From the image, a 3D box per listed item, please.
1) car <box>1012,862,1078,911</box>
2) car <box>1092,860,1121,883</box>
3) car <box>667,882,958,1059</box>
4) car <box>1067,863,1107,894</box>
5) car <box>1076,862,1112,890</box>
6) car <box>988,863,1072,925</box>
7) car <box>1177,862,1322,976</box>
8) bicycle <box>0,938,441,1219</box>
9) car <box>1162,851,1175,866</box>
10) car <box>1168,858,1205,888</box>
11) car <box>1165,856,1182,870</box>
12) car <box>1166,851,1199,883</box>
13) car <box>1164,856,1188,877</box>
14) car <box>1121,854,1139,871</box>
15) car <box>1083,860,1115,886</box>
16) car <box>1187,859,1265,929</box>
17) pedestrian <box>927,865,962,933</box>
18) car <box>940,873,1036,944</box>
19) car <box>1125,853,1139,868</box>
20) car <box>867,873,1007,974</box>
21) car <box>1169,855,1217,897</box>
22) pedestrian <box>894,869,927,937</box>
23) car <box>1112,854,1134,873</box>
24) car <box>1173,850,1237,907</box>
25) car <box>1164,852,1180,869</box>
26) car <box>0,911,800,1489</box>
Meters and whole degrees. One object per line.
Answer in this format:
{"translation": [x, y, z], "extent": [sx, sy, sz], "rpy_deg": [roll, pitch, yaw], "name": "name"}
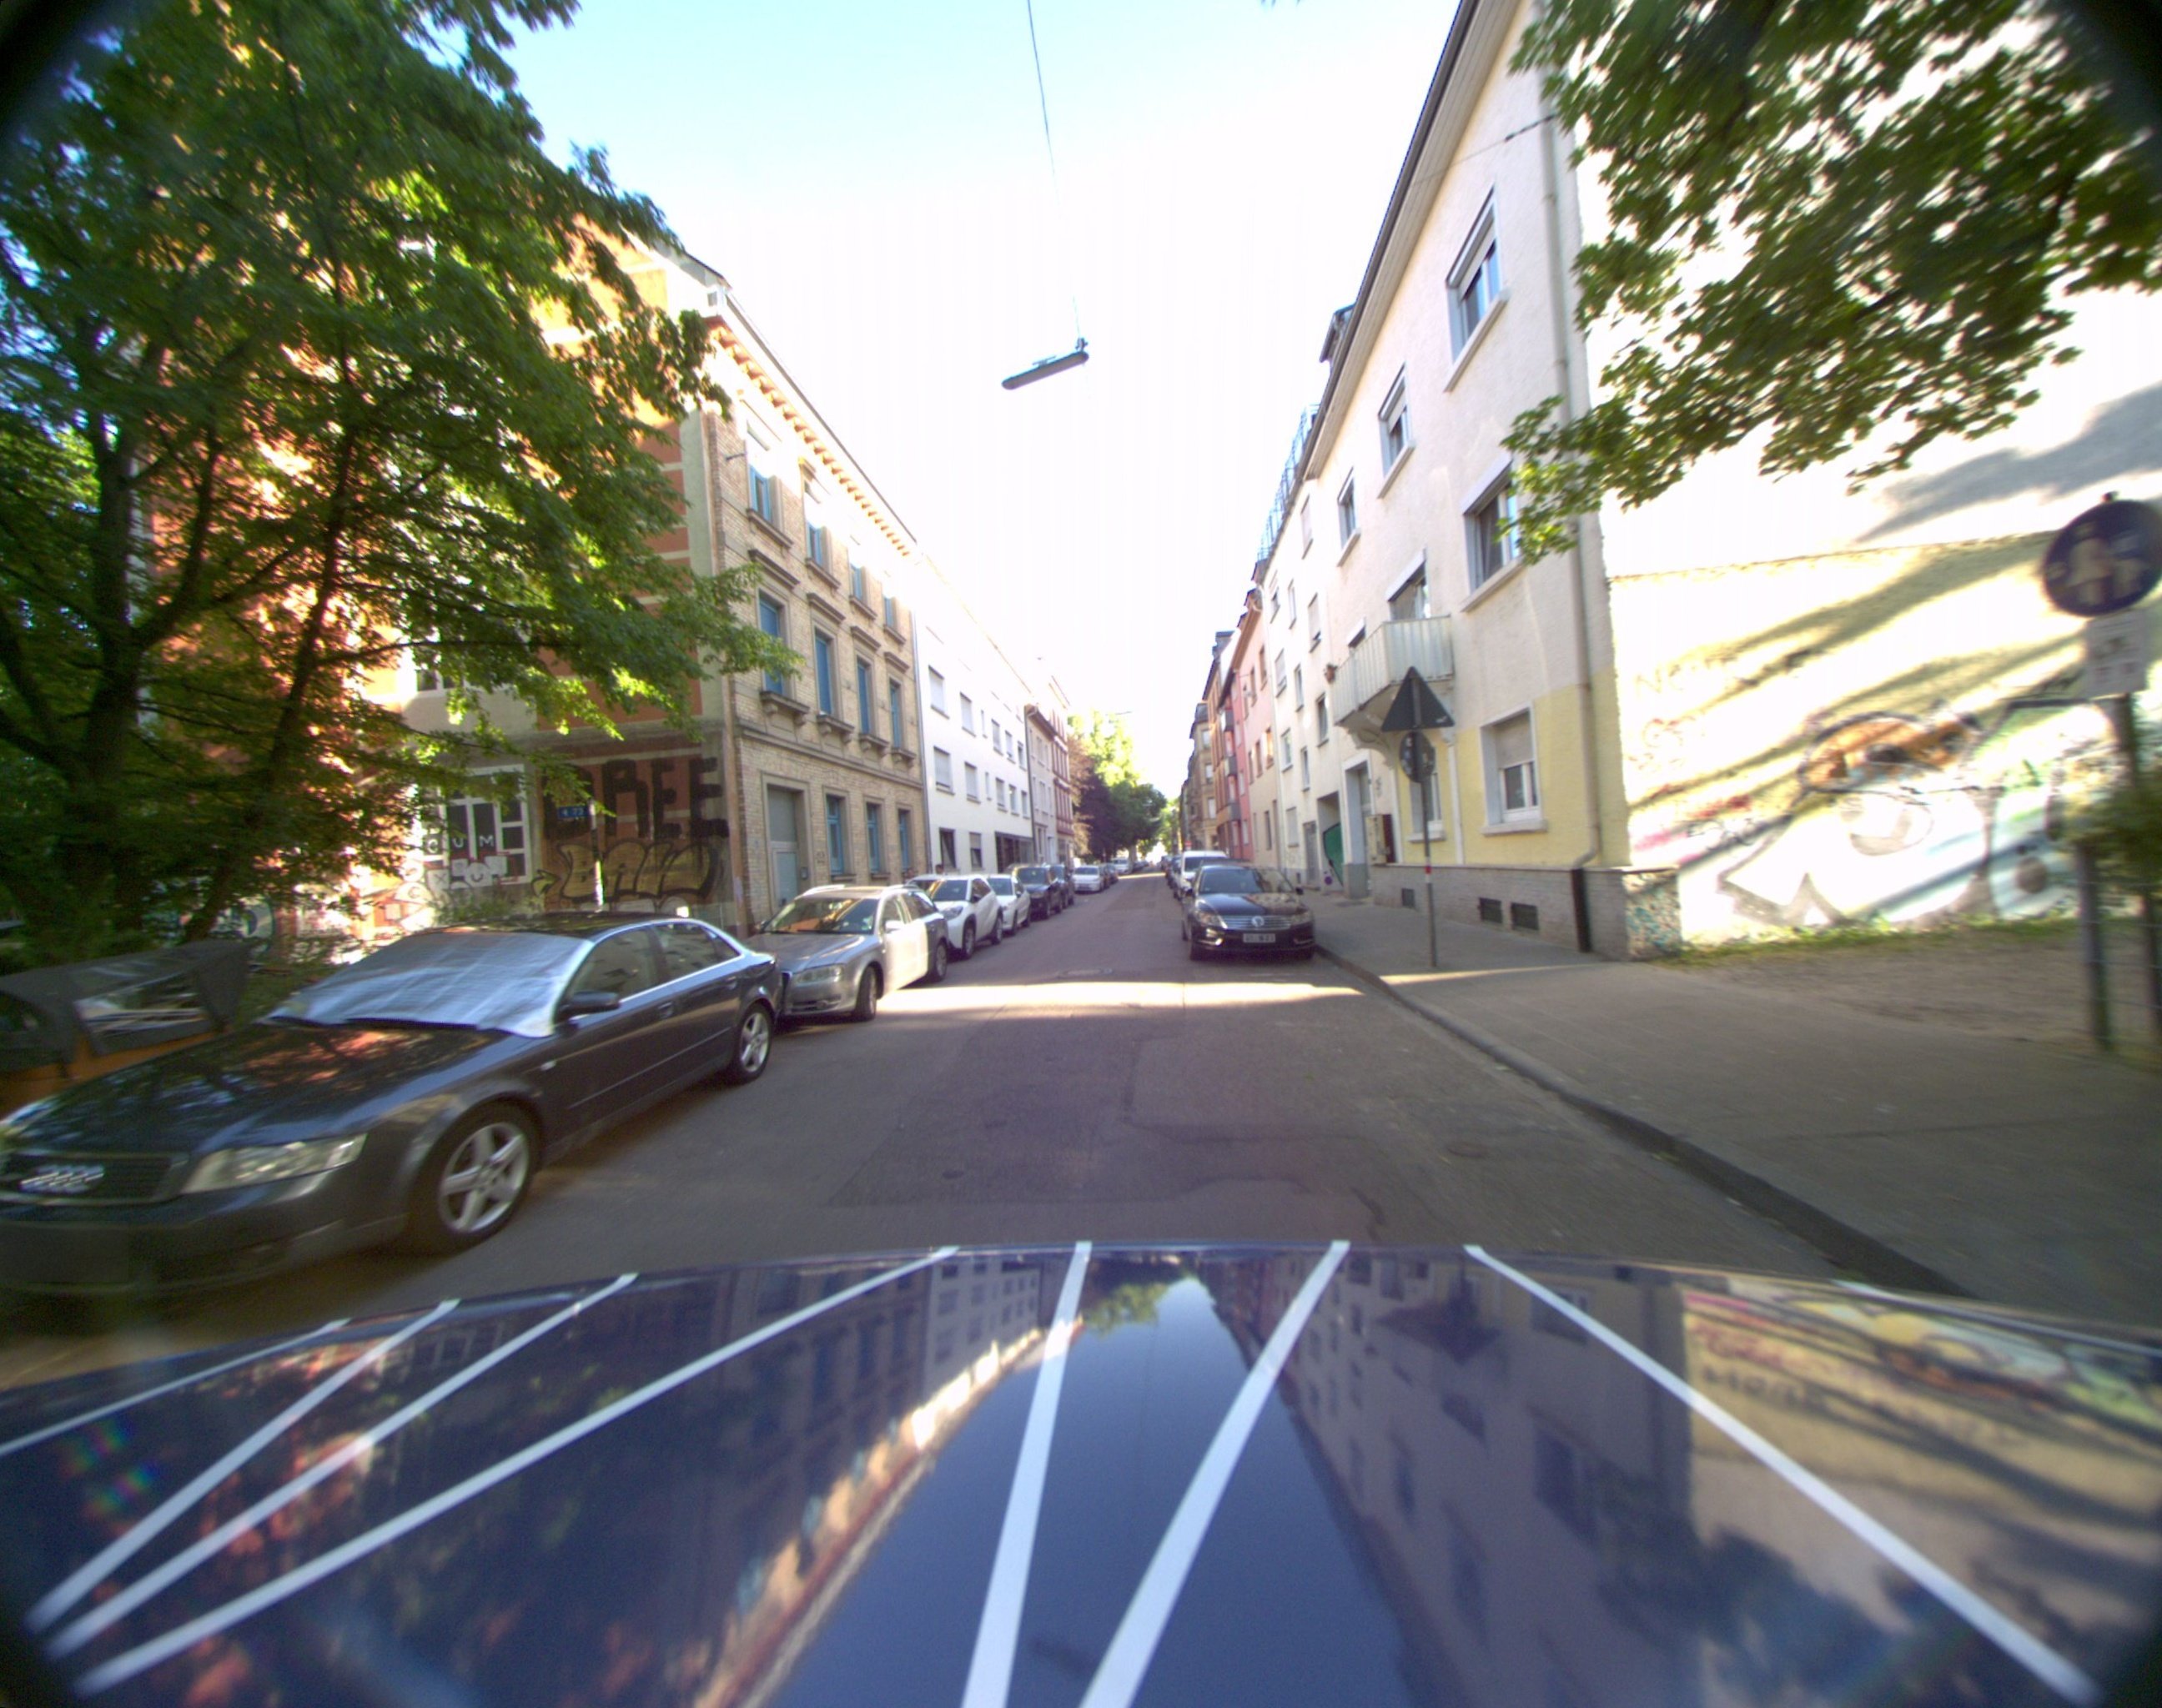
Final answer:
{"translation": [-1.283, 1.174, 29.069], "extent": [1.885, 1.657, 4.330], "rpy_deg": [-1, 0, 6], "name": "car"}
{"translation": [1.894, 1.243, 55.674], "extent": [1.768, 1.524, 4.105], "rpy_deg": [-1, 0, 6], "name": "car"}
{"translation": [-2.998, 1.235, 9.617], "extent": [1.662, 1.485, 4.355], "rpy_deg": [-4, 0, 6], "name": "car"}
{"translation": [0.363, 1.282, 41.368], "extent": [1.768, 1.508, 4.105], "rpy_deg": [-1, 0, 6], "name": "car"}
{"translation": [0.833, 1.276, 46.112], "extent": [1.768, 1.524, 4.105], "rpy_deg": [-2, 0, 6], "name": "car"}
{"translation": [-1.501, 1.187, 23.898], "extent": [1.769, 1.657, 4.330], "rpy_deg": [-3, 0, 7], "name": "car"}
{"translation": [2.530, 0.902, 12.390], "extent": [1.783, 1.435, 4.394], "rpy_deg": [-1, 0, 6], "name": "car"}
{"translation": [-6.319, 1.390, 5.443], "extent": [1.293, 1.294, 2.328], "rpy_deg": [-2, 0, 9], "name": "bicycle"}
{"translation": [12.541, 0.640, 109.580], "extent": [1.768, 2.074, 4.265], "rpy_deg": [-1, 0, 6], "name": "car"}
{"translation": [5.454, 0.957, 39.653], "extent": [1.768, 1.463, 3.817], "rpy_deg": [-1, 0, 6], "name": "car"}
{"translation": [10.168, 0.955, 83.521], "extent": [1.768, 1.463, 3.934], "rpy_deg": [-1, 0, 6], "name": "car"}
{"translation": [5.954, 0.735, 44.981], "extent": [1.768, 1.814, 4.105], "rpy_deg": [-1, 0, 6], "name": "car"}
{"translation": [7.500, 0.945, 60.127], "extent": [1.768, 1.524, 4.105], "rpy_deg": [-1, 0, 6], "name": "car"}
{"translation": [5.770, 1.020, 89.384], "extent": [1.768, 1.846, 4.287], "rpy_deg": [-4, 0, 6], "name": "car"}
{"translation": [1.226, 1.248, 50.563], "extent": [1.768, 1.524, 4.105], "rpy_deg": [-2, 0, 6], "name": "car"}
{"translation": [3.315, 0.864, 17.836], "extent": [1.596, 1.442, 3.487], "rpy_deg": [-1, 0, 8], "name": "car"}
{"translation": [-3.530, 1.156, 19.704], "extent": [0.711, 1.699, 0.752], "rpy_deg": [-1, 0, 6], "name": "pedestrian"}
{"translation": [-2.217, 1.285, 19.103], "extent": [1.597, 1.442, 4.004], "rpy_deg": [-3, 0, 4], "name": "car"}
{"translation": [7.254, 0.943, 107.994], "extent": [1.768, 2.006, 4.265], "rpy_deg": [-1, 0, 6], "name": "car"}
{"translation": [-2.650, 1.241, 14.817], "extent": [1.597, 1.576, 3.765], "rpy_deg": [-3, 0, 6], "name": "car"}
{"translation": [4.557, 0.834, 30.580], "extent": [1.673, 1.519, 4.088], "rpy_deg": [-1, 0, 11], "name": "car"}
{"translation": [-4.404, 1.254, 19.662], "extent": [0.598, 1.699, 0.707], "rpy_deg": [-1, 0, 6], "name": "pedestrian"}
{"translation": [4.612, 1.036, 82.864], "extent": [1.865, 1.970, 4.484], "rpy_deg": [-1, 0, 9], "name": "car"}
{"translation": [4.104, 0.758, 25.662], "extent": [1.753, 1.731, 4.316], "rpy_deg": [-1, 0, 5], "name": "car"}
{"translation": [10.601, 0.757, 88.884], "extent": [1.768, 1.846, 3.995], "rpy_deg": [-1, 0, 6], "name": "car"}
{"translation": [-3.581, 1.288, 4.642], "extent": [1.724, 1.485, 4.415], "rpy_deg": [-3, 0, 5], "name": "car"}
